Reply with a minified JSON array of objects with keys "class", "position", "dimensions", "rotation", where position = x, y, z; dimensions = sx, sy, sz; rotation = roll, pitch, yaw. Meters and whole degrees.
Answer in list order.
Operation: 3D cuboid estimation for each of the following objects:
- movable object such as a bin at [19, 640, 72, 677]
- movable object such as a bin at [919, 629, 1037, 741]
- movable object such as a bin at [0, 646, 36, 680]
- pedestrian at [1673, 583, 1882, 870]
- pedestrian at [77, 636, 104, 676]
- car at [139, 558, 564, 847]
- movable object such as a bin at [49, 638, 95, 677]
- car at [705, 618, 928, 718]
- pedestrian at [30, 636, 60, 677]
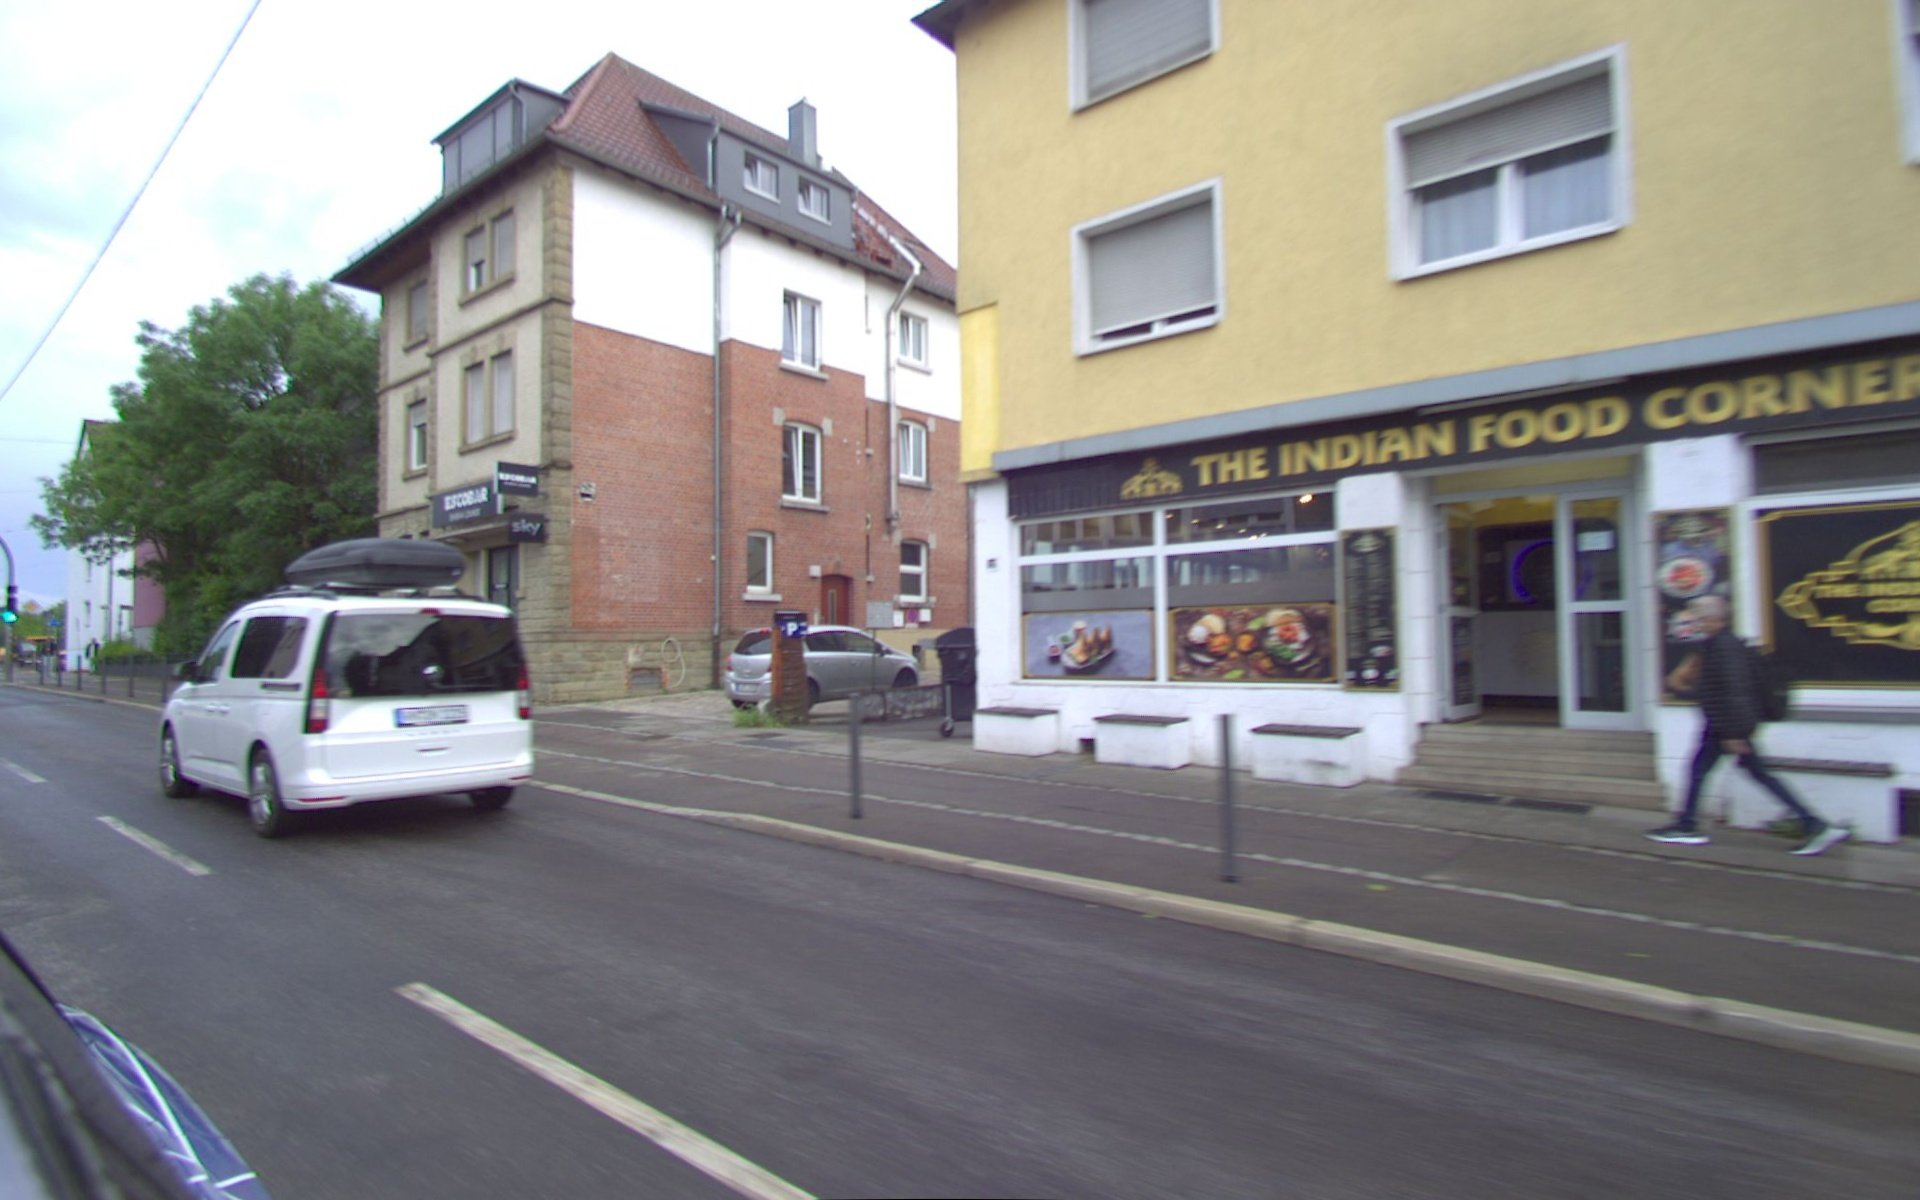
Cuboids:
[{"class":"movable object such as a bin","position":[-102.004,6.575,113.033],"dimensions":[2.907,3.873,8.150],"rotation":[0,-4,-31]},{"class":"movable object such as a bin","position":[0.249,1.102,13.620],"dimensions":[0.983,1.413,1.288],"rotation":[-2,-2,40]},{"class":"movable object such as a bin","position":[-92.521,6.166,98.875],"dimensions":[2.787,3.137,4.643],"rotation":[1,-5,-37]},{"class":"pedestrian","position":[5.281,0.749,6.591],"dimensions":[0.992,1.692,0.807],"rotation":[-1,-1,38]},{"class":"pedestrian","position":[-41.434,2.658,48.218],"dimensions":[1.115,1.835,0.797],"rotation":[-5,-4,40]},{"class":"car","position":[-5.453,0.728,8.811],"dimensions":[4.451,1.884,1.862],"rotation":[-1,-3,41]},{"class":"movable object such as a bin","position":[-68.376,4.461,78.021],"dimensions":[2.101,2.828,4.990],"rotation":[-1,-3,-35]},{"class":"car","position":[-2.462,1.124,17.945],"dimensions":[1.945,1.497,3.530],"rotation":[-2,-1,39]},{"class":"pedestrian","position":[-43.083,2.675,47.660],"dimensions":[1.043,1.897,0.853],"rotation":[-4,-4,39]}]
